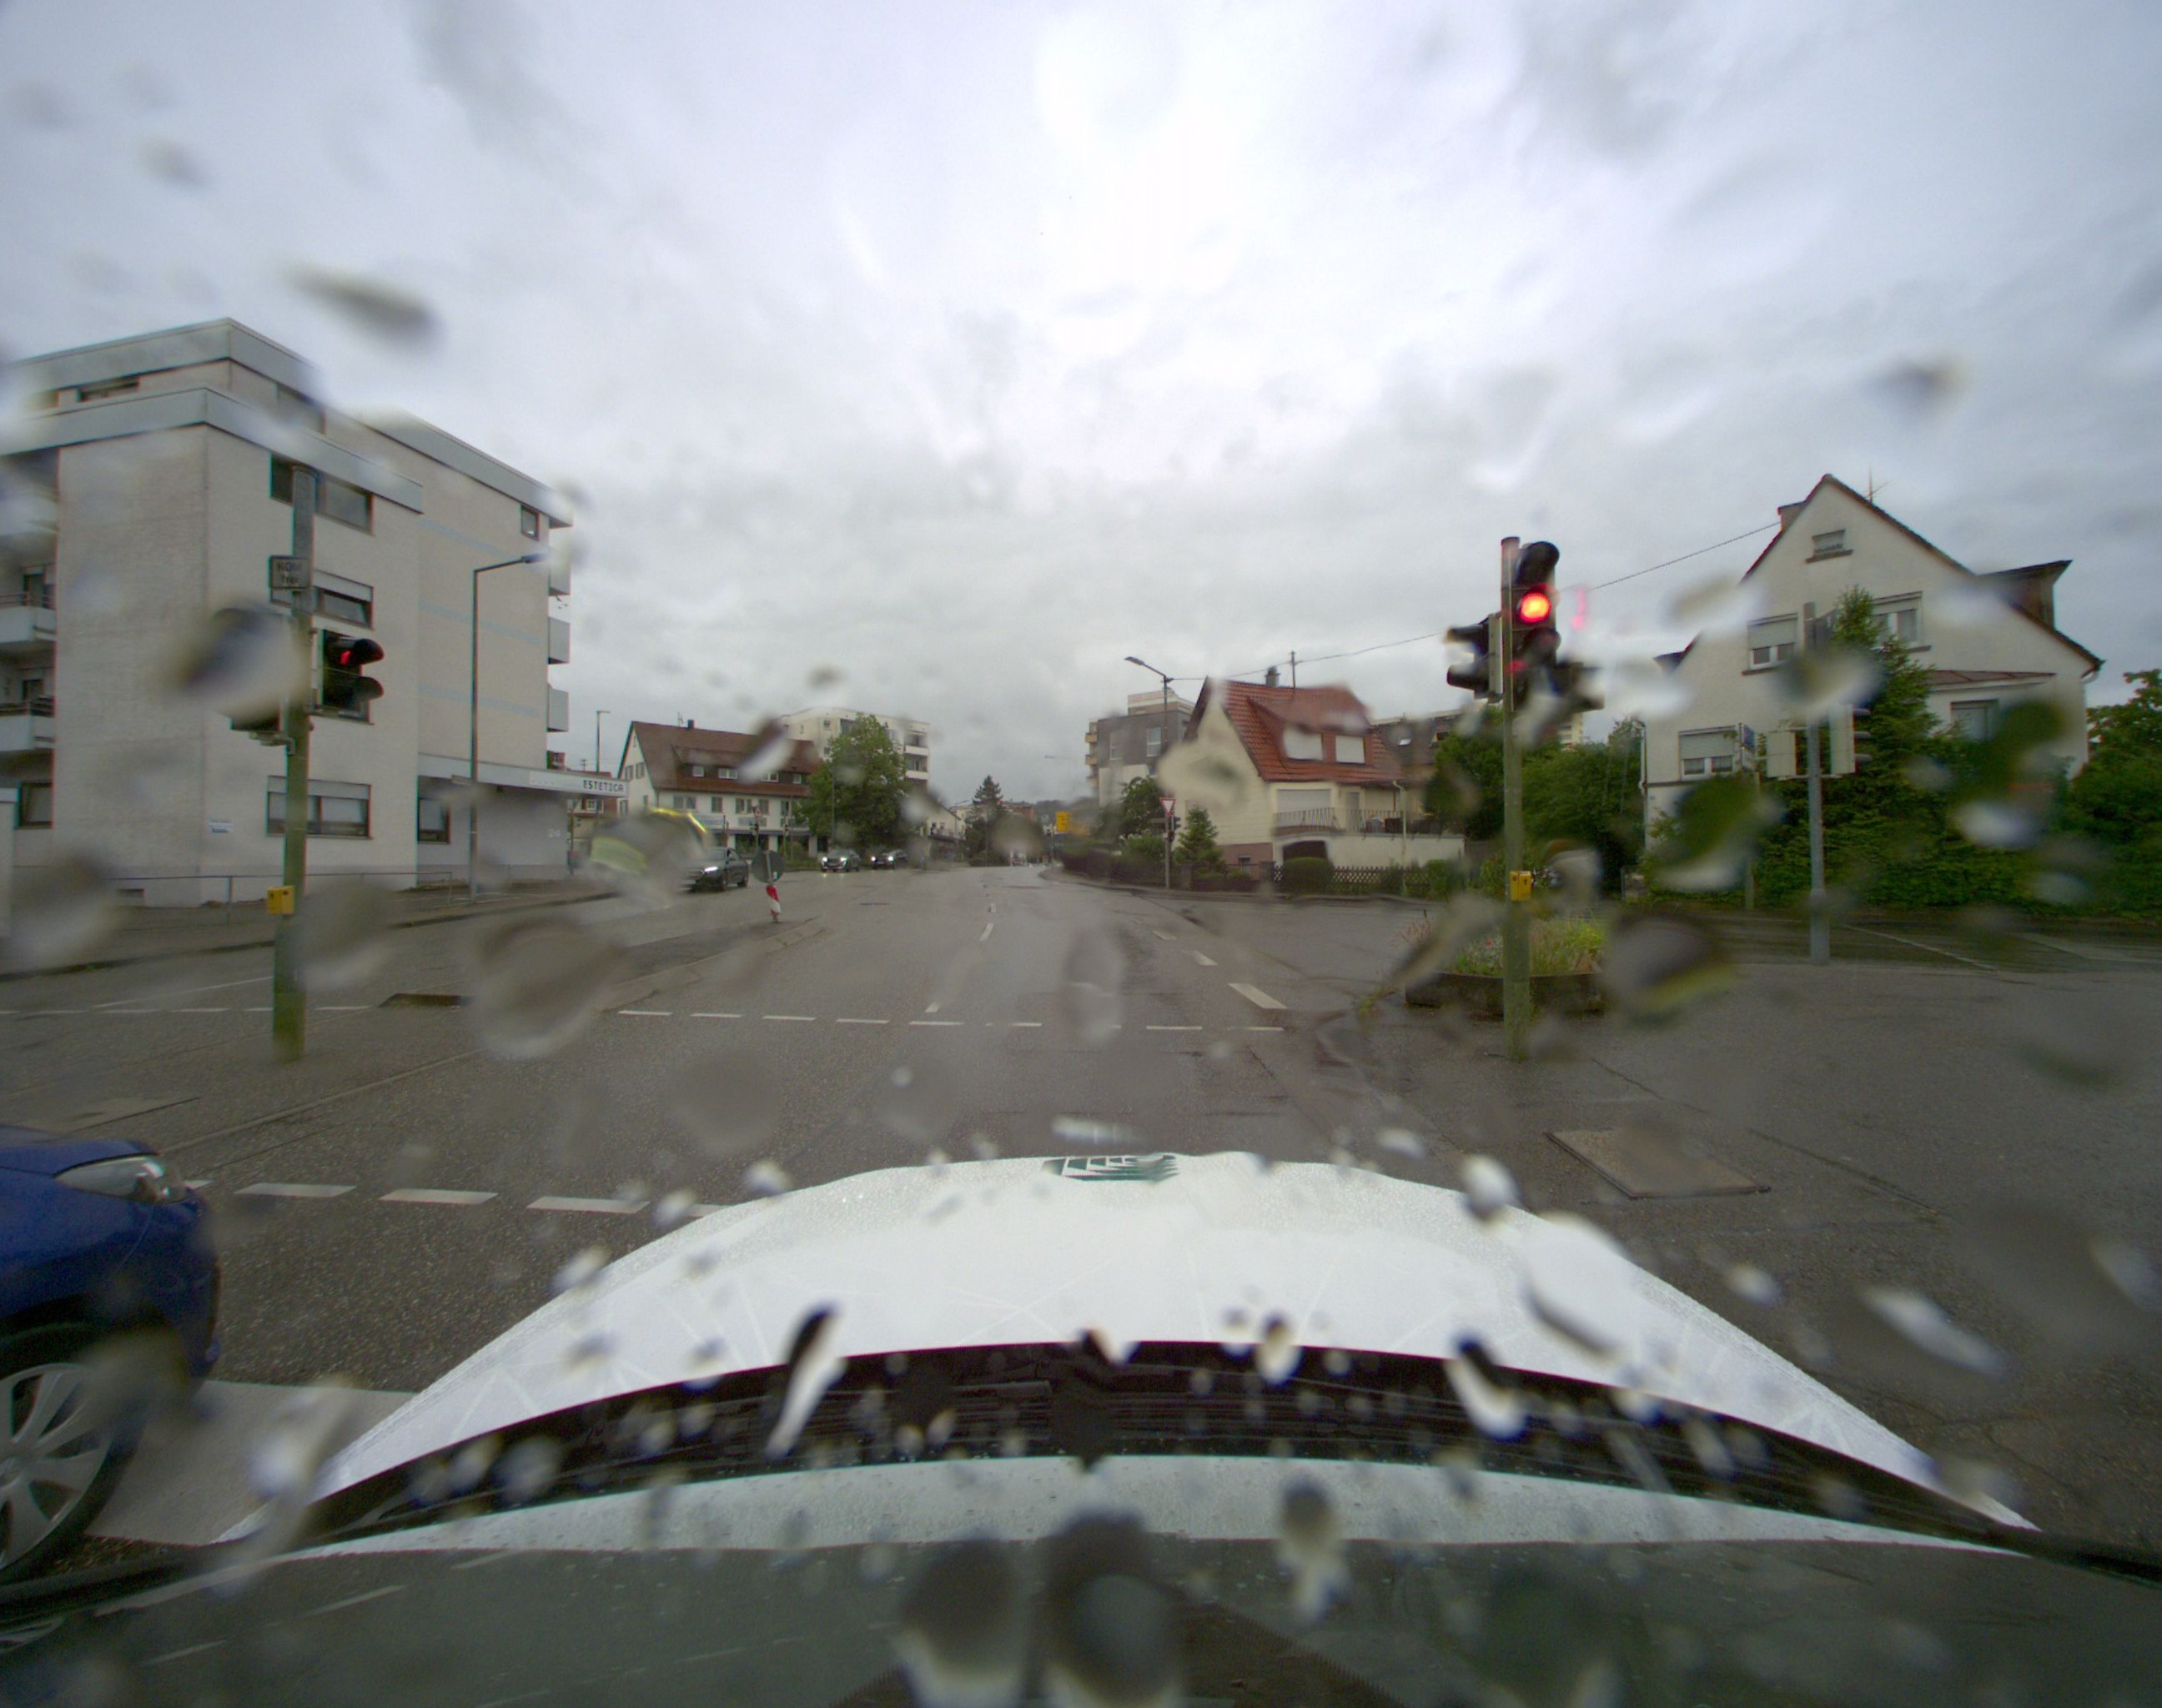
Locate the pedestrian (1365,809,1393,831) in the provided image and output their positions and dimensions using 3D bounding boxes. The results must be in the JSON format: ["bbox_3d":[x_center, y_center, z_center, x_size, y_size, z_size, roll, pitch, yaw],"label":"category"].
[{"bbox_3d":[12.769,-1.436,34.868,0.918,0.883,0.632,0,-3,-18],"label":"pedestrian"}]

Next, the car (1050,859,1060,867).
[{"bbox_3d":[-6.123,2.073,189.429,1.990,1.737,5.173,0,0,-4],"label":"car"}]

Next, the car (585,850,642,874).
[{"bbox_3d":[-38.443,0.628,66.992,3.706,1.920,1.864,0,-1,-44],"label":"car"}]

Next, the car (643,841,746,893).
[{"bbox_3d":[-12.958,0.416,27.611,1.994,1.625,4.523,0,-1,-10],"label":"car"}]

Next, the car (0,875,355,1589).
[{"bbox_3d":[-2.954,0.780,0.738,1.499,1.413,3.365,0,0,2],"label":"car"}]

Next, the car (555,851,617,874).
[{"bbox_3d":[-41.217,0.667,67.815,4.093,1.843,1.864,0,-1,-44],"label":"car"}]

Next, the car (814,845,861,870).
[{"bbox_3d":[-15.777,0.234,52.915,1.962,1.512,3.996,0,0,-2],"label":"car"}]

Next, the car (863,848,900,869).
[{"bbox_3d":[-15.761,0.382,64.542,1.873,1.597,4.184,0,0,0],"label":"car"}]

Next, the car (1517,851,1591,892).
[{"bbox_3d":[17.110,0.595,29.382,1.794,1.362,4.025,-1,-1,37],"label":"car"}]
